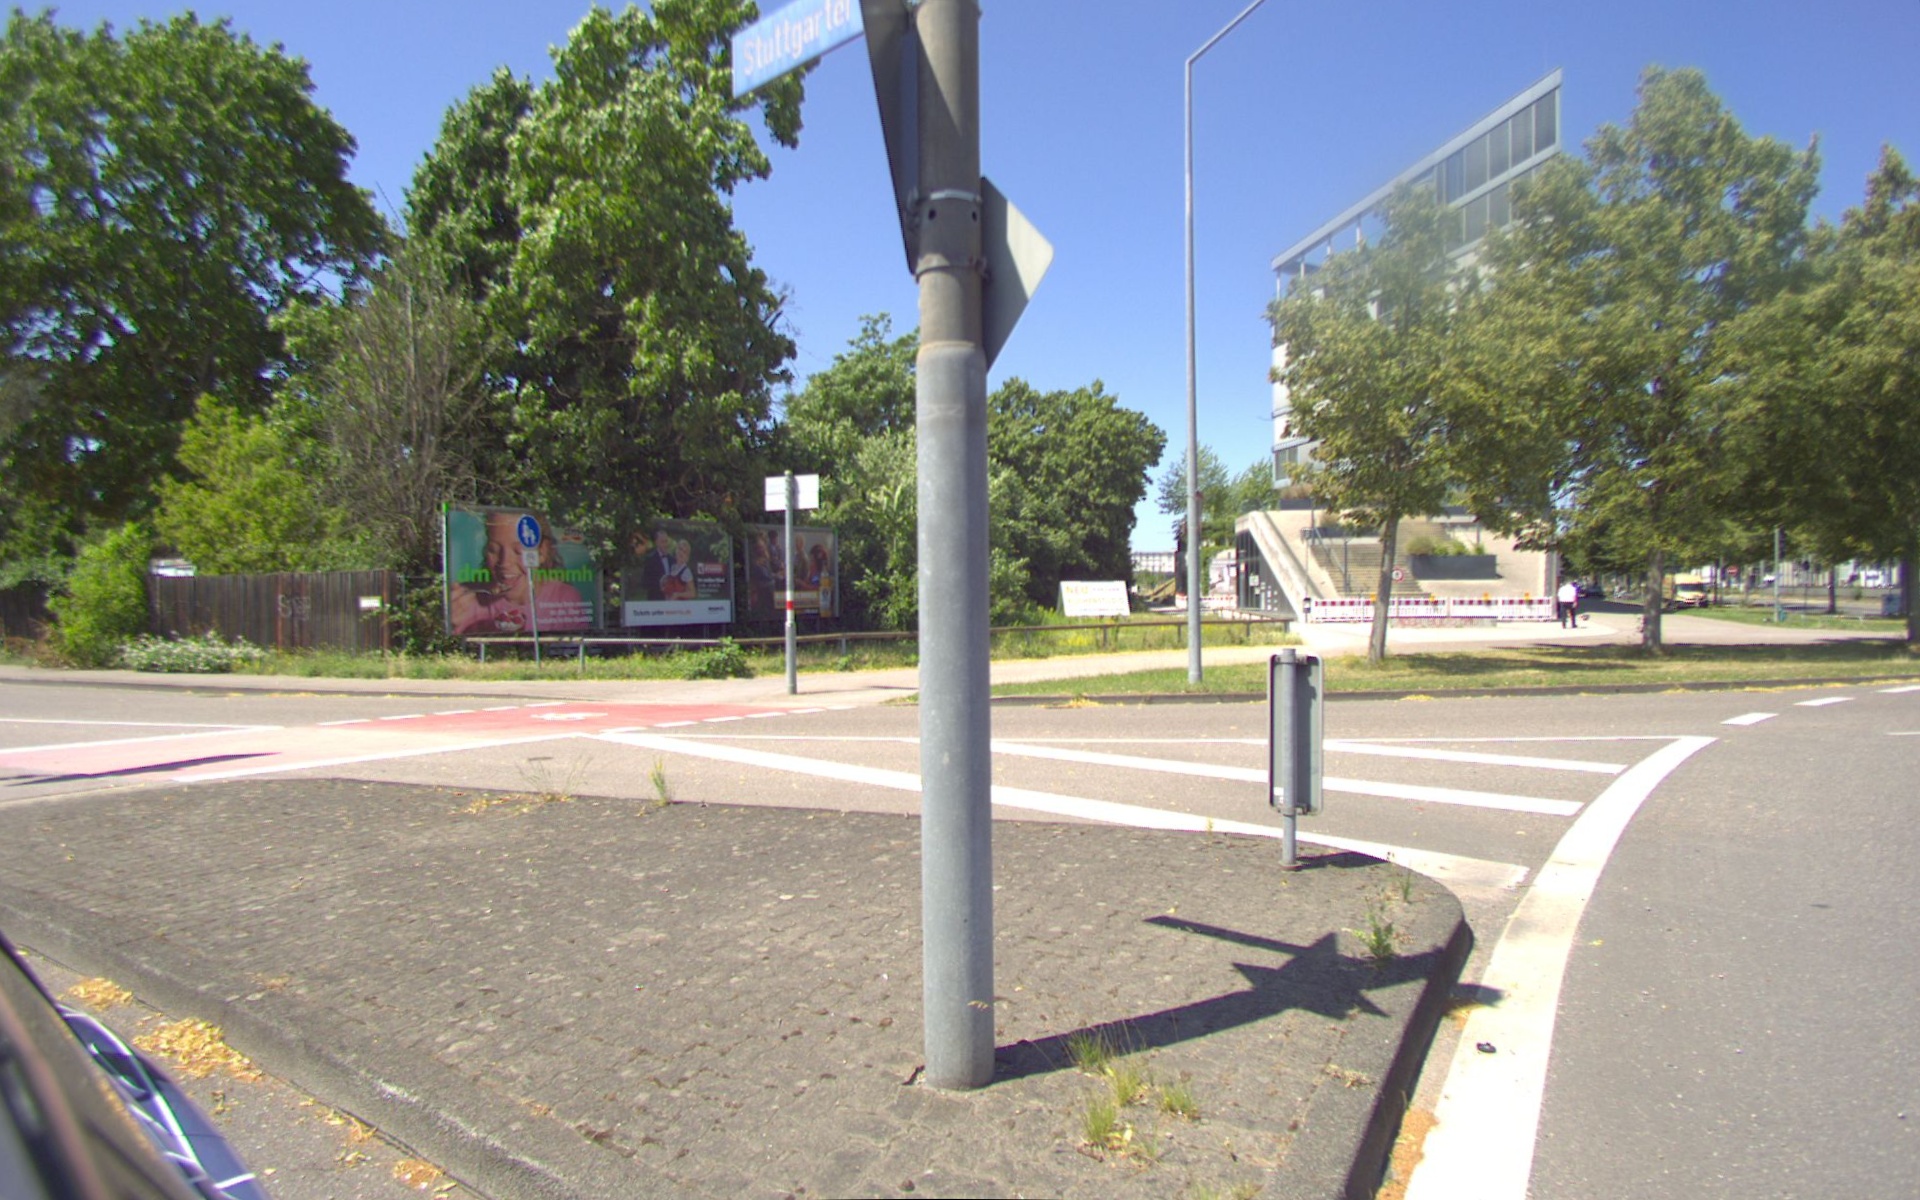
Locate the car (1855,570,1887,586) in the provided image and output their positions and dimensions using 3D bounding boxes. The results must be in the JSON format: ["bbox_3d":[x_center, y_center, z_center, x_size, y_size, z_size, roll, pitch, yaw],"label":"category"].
[{"bbox_3d":[117.150,-2.870,130.161,1.989,2.028,3.869,0,2,25],"label":"car"}]

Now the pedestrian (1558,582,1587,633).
[{"bbox_3d":[23.106,0.285,38.162,0.834,1.883,0.603,1,2,41],"label":"pedestrian"}]

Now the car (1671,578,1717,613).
[{"bbox_3d":[55.896,-0.355,77.123,1.988,2.527,3.968,-1,0,24],"label":"car"}]
